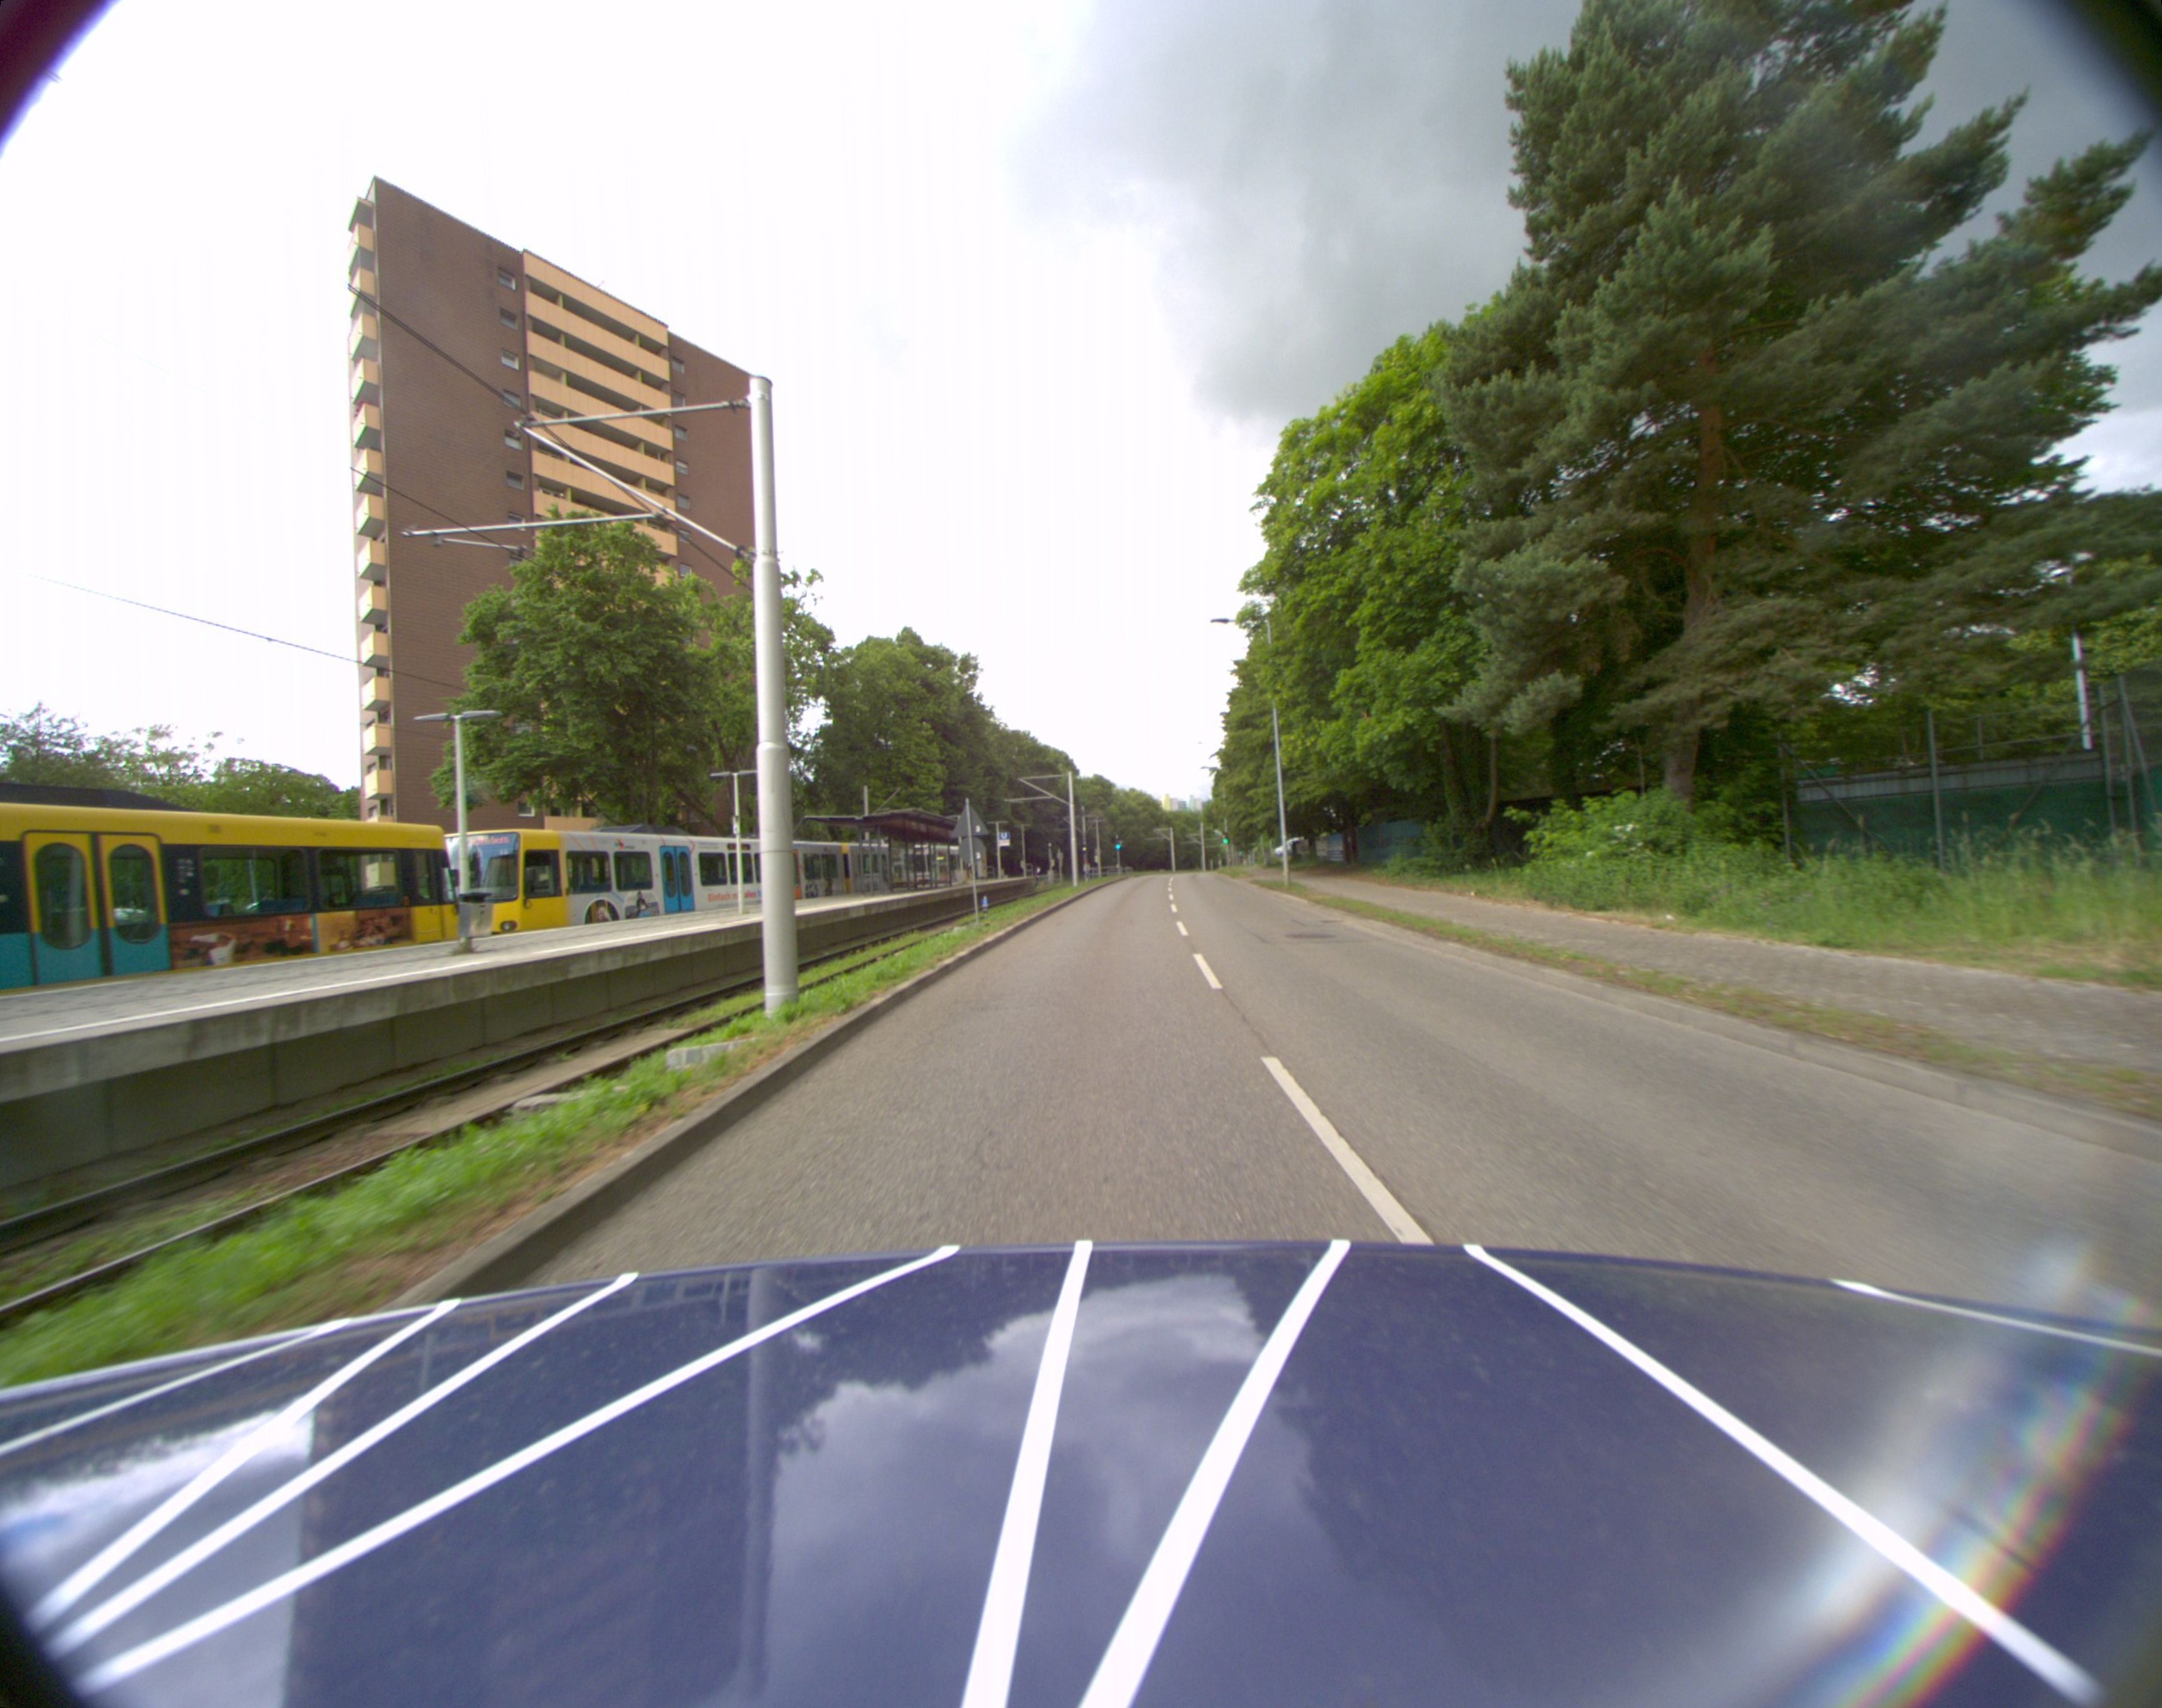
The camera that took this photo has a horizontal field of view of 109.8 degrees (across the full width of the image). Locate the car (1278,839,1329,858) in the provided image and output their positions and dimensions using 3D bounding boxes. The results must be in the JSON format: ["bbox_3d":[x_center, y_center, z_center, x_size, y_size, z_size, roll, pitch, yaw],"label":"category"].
[{"bbox_3d":[23.981,-0.585,81.954,5.163,1.552,1.888,-5,-2,16],"label":"car"}]

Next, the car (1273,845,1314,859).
[{"bbox_3d":[24.050,-0.212,86.063,4.384,1.308,1.565,-5,-2,16],"label":"car"}]

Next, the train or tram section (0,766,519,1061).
[{"bbox_3d":[-15.105,0.821,7.839,2.820,3.714,19.520,-4,-1,4],"label":"train or tram section"}]

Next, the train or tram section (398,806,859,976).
[{"bbox_3d":[-13.371,0.931,27.155,2.819,3.776,18.945,-4,-1,7],"label":"train or tram section"}]

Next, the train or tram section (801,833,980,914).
[{"bbox_3d":[-10.455,0.959,45.847,2.818,3.714,18.547,-5,-1,10],"label":"train or tram section"}]

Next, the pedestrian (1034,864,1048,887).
[{"bbox_3d":[-3.151,1.718,60.021,0.986,1.747,0.730,-4,-1,0],"label":"pedestrian"}]

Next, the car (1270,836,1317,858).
[{"bbox_3d":[24.904,-0.808,88.987,5.163,2.093,2.218,-5,-2,16],"label":"car"}]
